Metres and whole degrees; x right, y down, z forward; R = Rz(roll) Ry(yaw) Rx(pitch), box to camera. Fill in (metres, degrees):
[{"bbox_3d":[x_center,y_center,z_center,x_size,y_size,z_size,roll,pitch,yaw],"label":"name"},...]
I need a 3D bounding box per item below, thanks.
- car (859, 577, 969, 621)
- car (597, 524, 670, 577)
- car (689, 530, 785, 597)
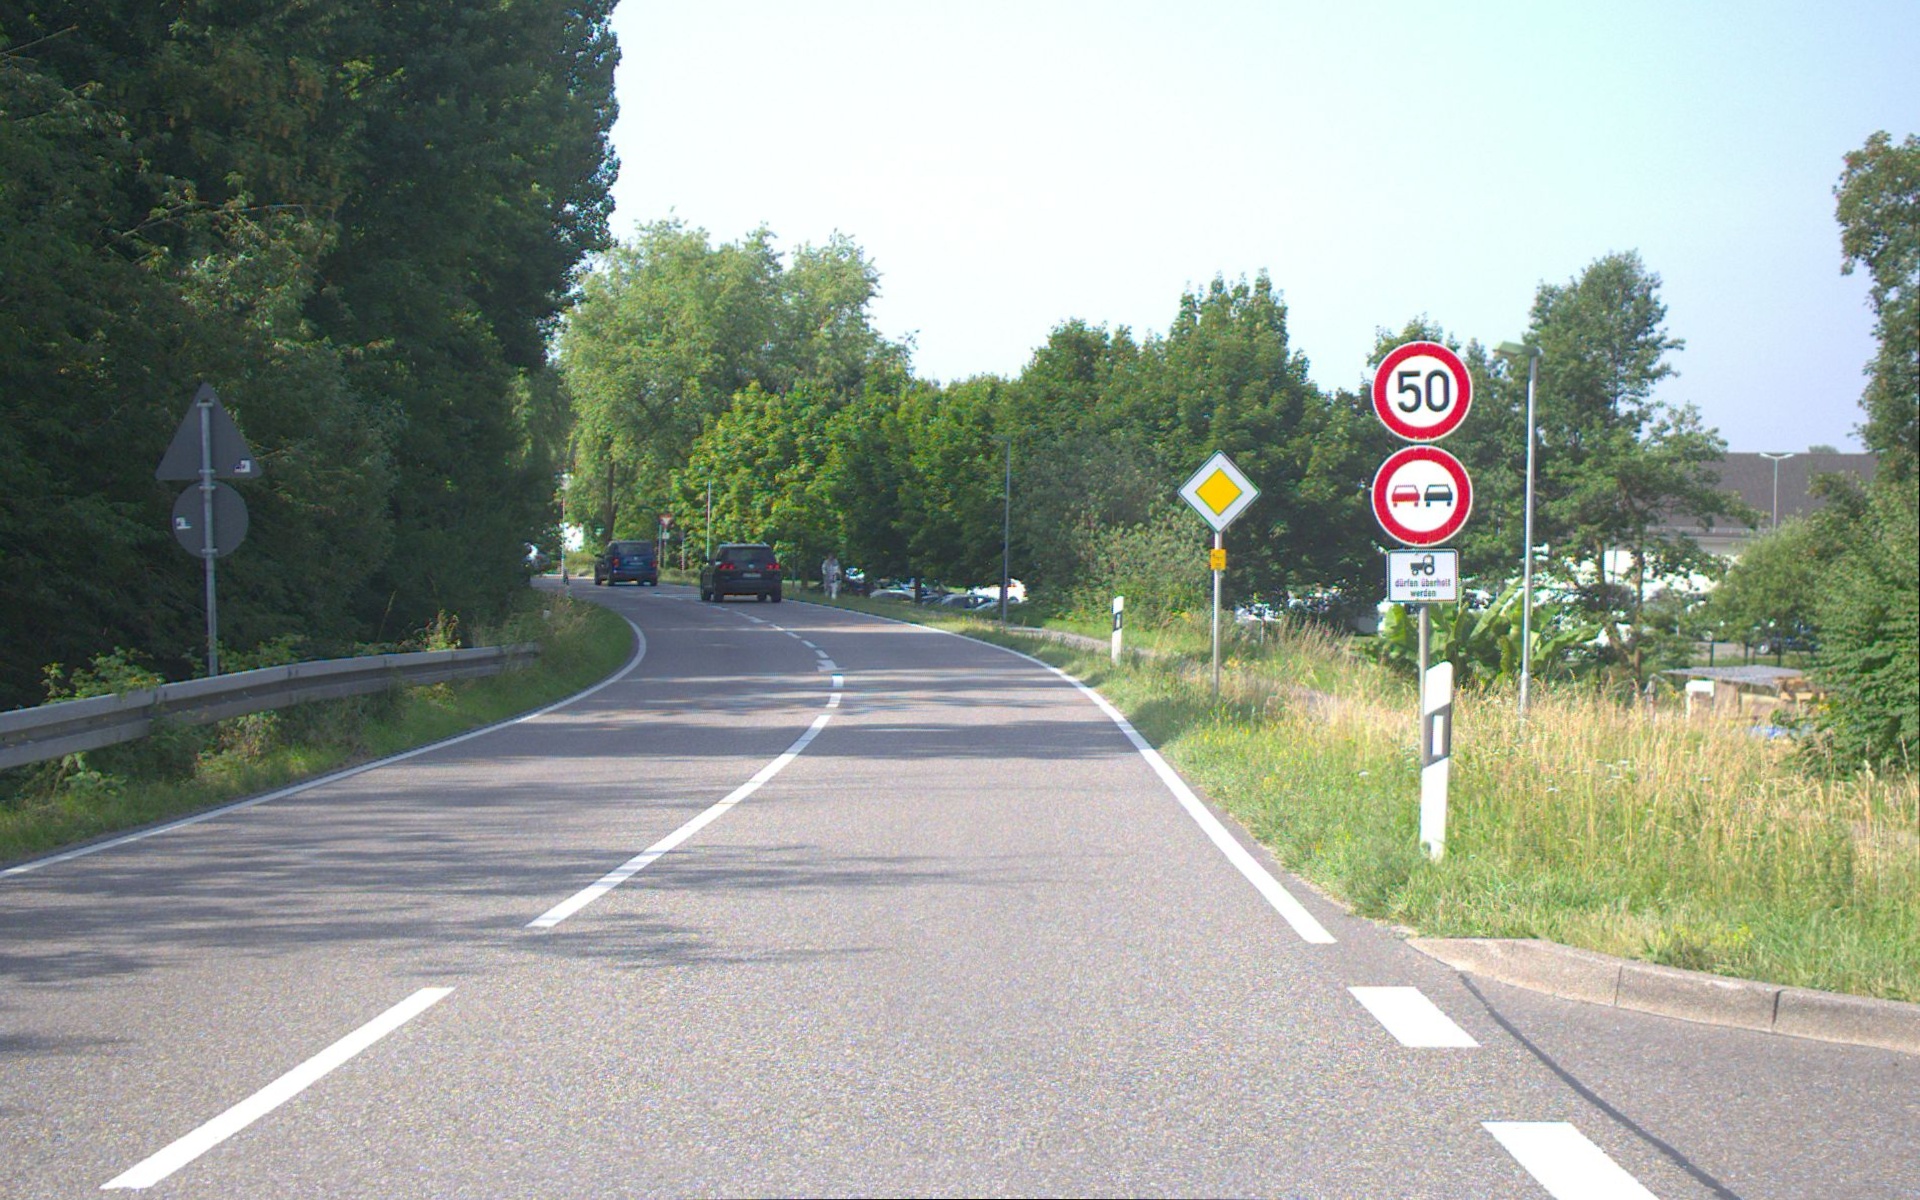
[{"bbox_3d":[-1.898,-0.044,141.766,4.233,1.674,1.891,1,0,-10],"label":"car"},{"bbox_3d":[-11.732,-1.794,123.457,2.003,1.765,4.002,2,2,-14],"label":"car"},{"bbox_3d":[-6.420,-1.074,98.574,1.924,1.765,4.002,2,2,-16],"label":"car"}]
